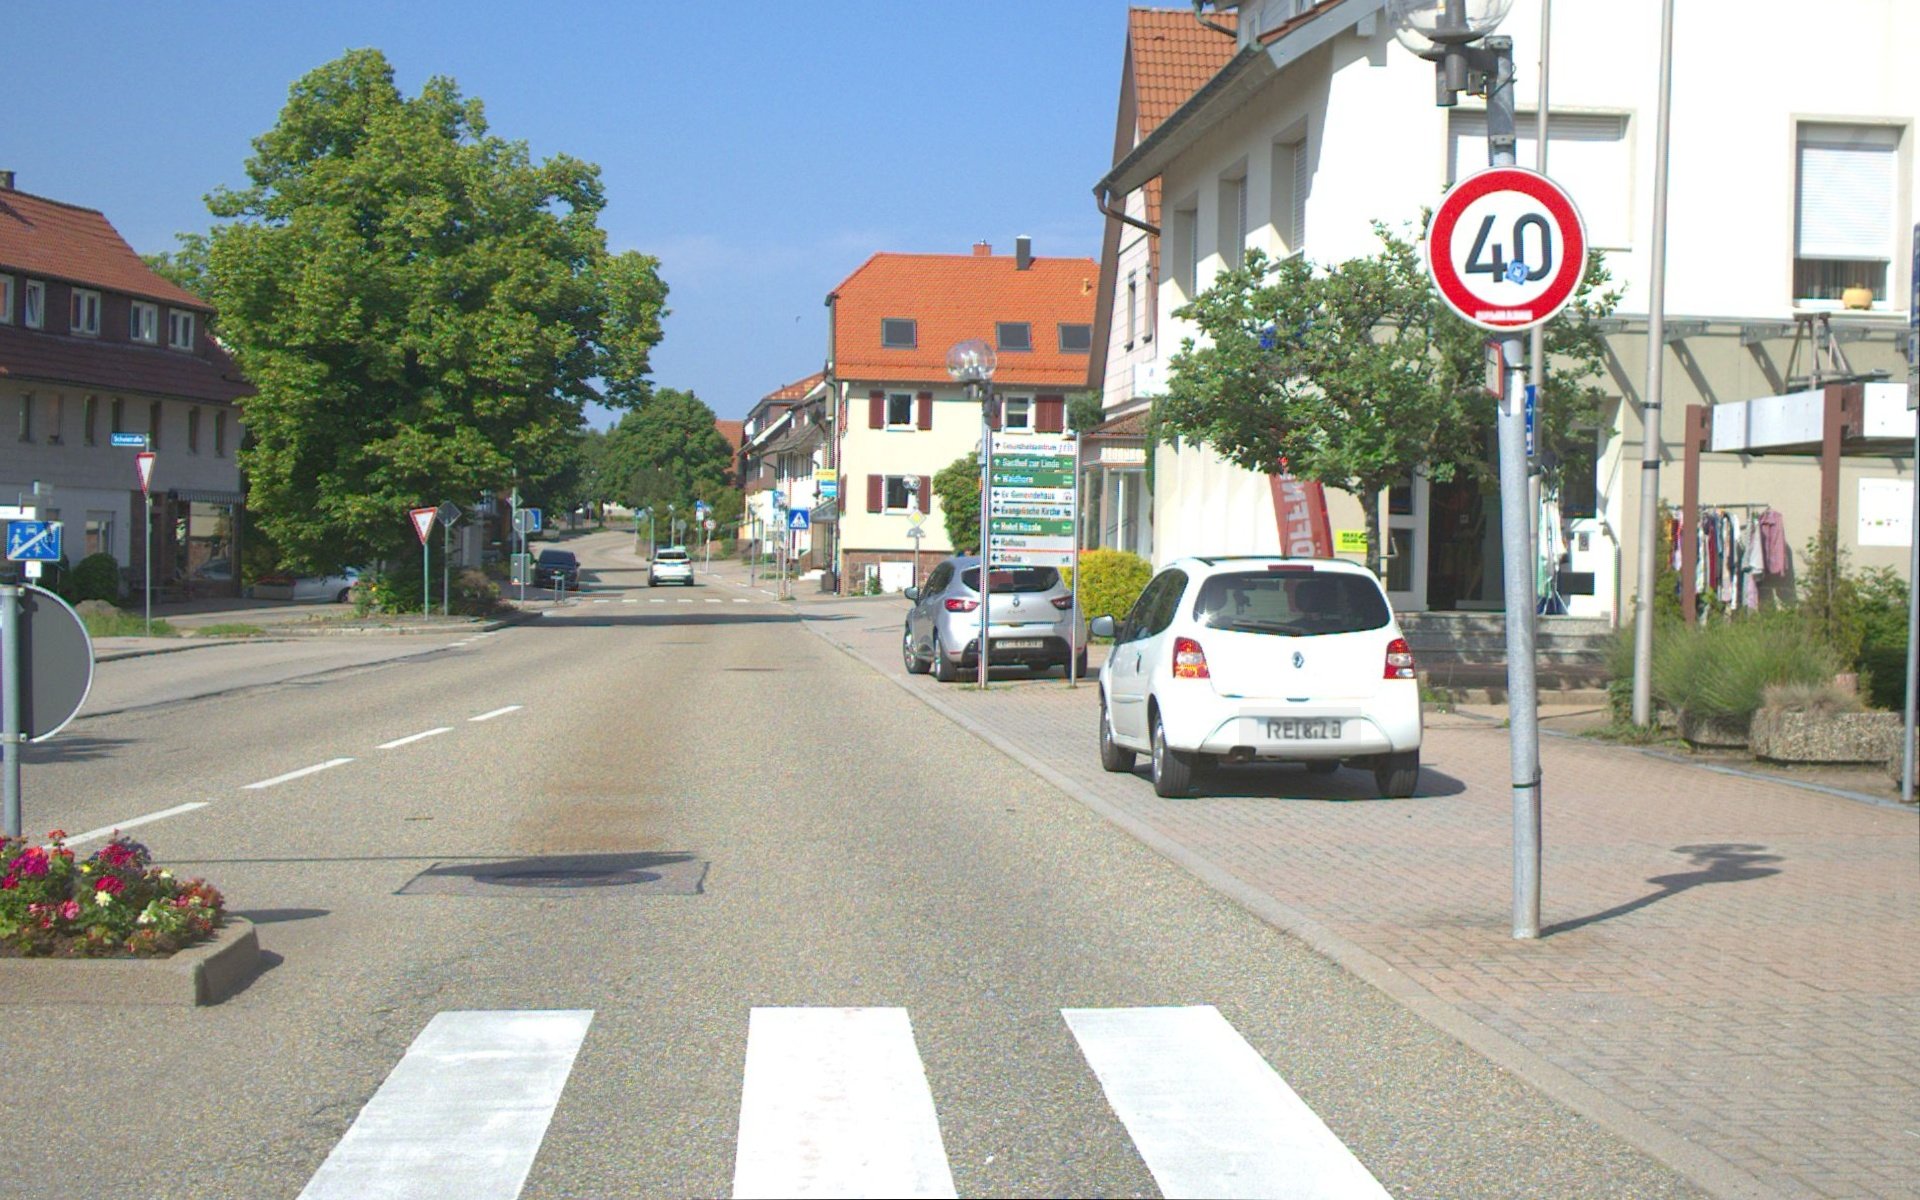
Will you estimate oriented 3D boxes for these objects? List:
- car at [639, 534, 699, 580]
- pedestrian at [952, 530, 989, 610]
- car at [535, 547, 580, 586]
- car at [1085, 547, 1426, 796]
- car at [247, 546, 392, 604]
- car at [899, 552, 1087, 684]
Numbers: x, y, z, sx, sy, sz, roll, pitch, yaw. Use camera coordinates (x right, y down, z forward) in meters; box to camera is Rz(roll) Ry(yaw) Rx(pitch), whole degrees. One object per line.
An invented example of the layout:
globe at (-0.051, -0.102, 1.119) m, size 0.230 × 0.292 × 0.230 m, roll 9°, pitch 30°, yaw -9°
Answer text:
car at (-13.502, -1.997, 159.360) m, size 2.495 × 2.007 × 4.305 m, roll -2°, pitch 1°, yaw -8°
pedestrian at (0.242, -0.680, 77.718) m, size 0.799 × 1.778 × 0.979 m, roll -1°, pitch 1°, yaw 1°
car at (-17.052, -1.435, 145.739) m, size 1.672 × 1.528 × 3.536 m, roll 4°, pitch 1°, yaw -5°
car at (1.817, 0.395, 22.160) m, size 1.760 × 1.418 × 3.634 m, roll -1°, pitch 1°, yaw -2°
car at (-18.586, -0.721, 99.781) m, size 3.760 × 1.449 × 1.816 m, roll -2°, pitch -4°, yaw 8°
car at (0.340, 0.174, 40.442) m, size 1.635 × 1.415 × 3.936 m, roll -1°, pitch 1°, yaw -8°
